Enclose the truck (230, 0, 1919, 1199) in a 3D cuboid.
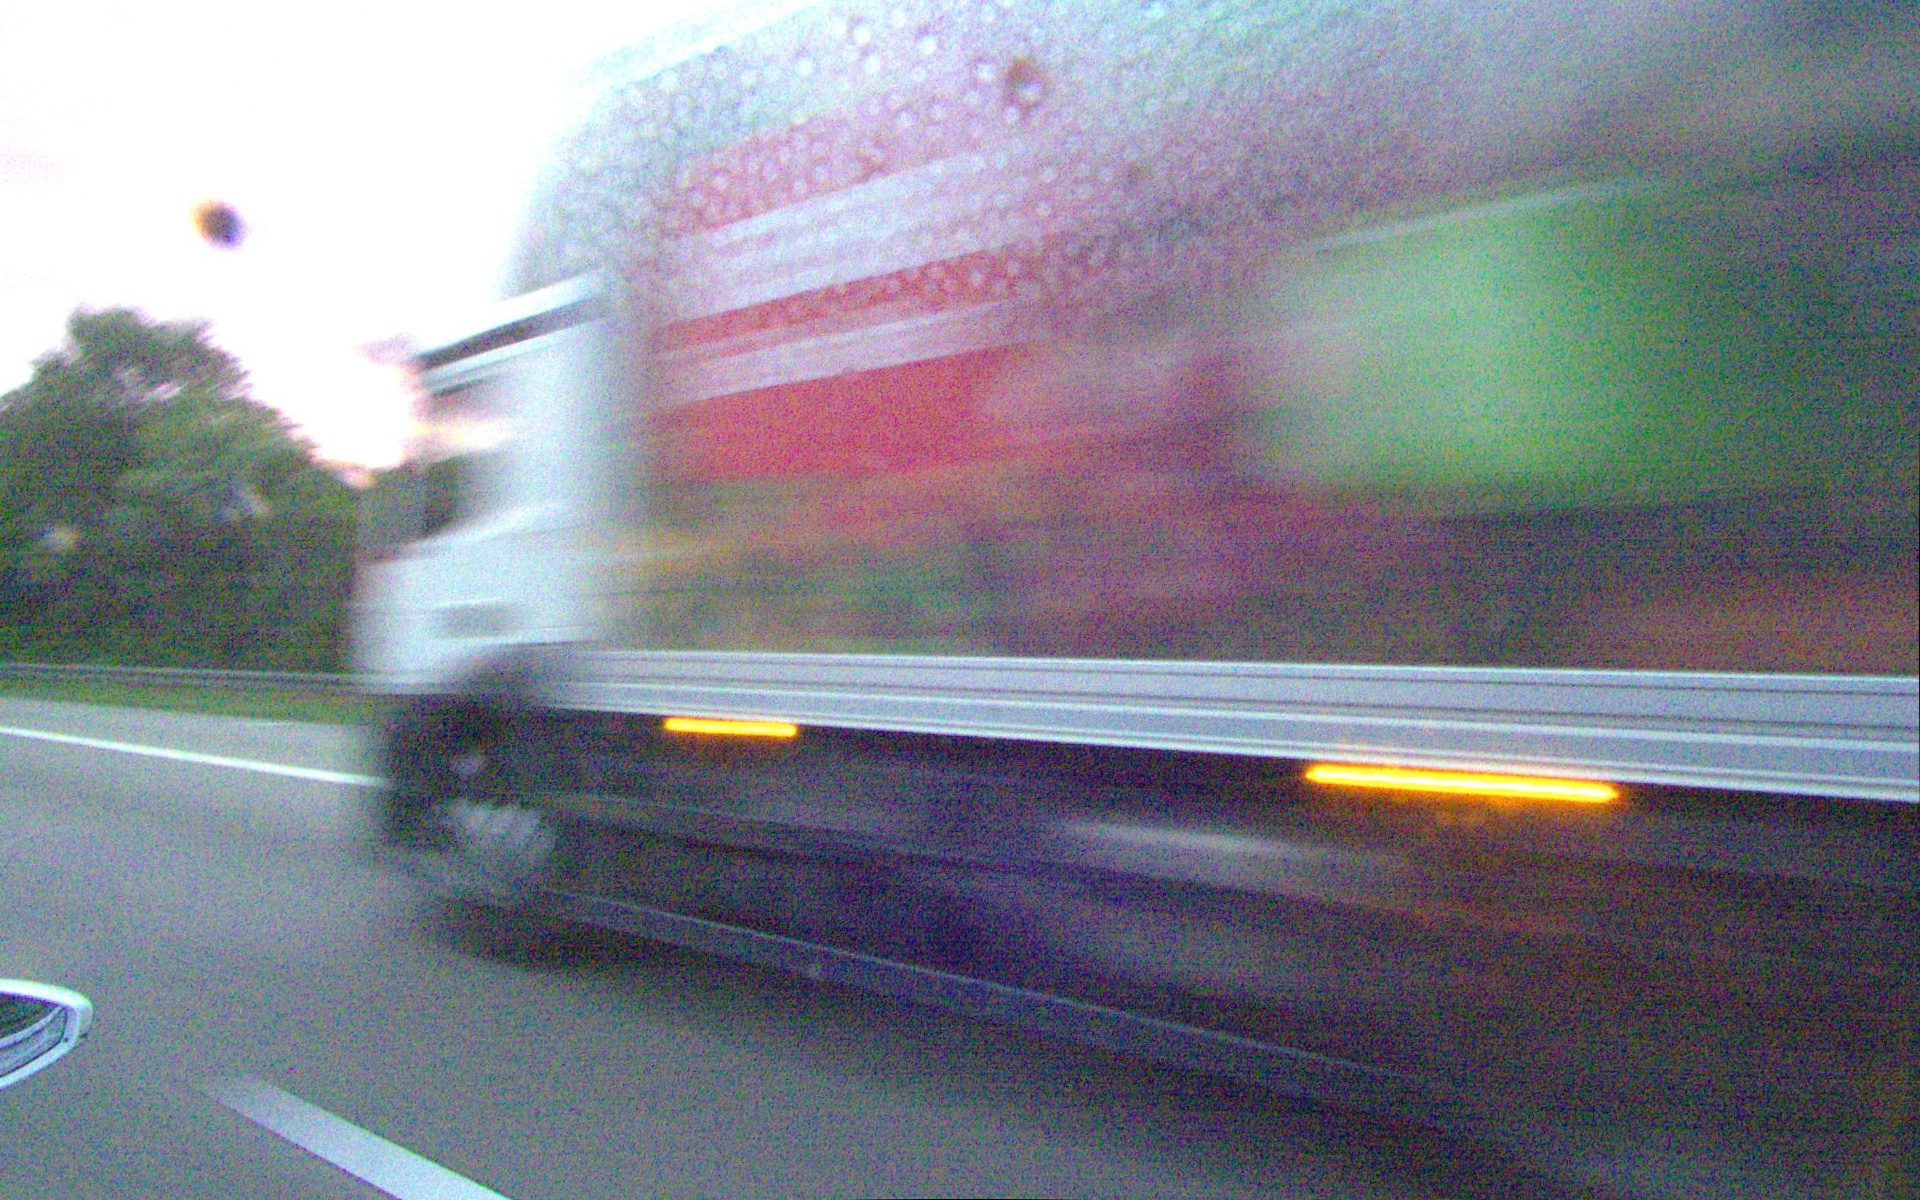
[{"bbox_3d":[1.054,-0.285,3.812,10.239,3.876,2.611,-2,-1,32],"label":"truck"}]
